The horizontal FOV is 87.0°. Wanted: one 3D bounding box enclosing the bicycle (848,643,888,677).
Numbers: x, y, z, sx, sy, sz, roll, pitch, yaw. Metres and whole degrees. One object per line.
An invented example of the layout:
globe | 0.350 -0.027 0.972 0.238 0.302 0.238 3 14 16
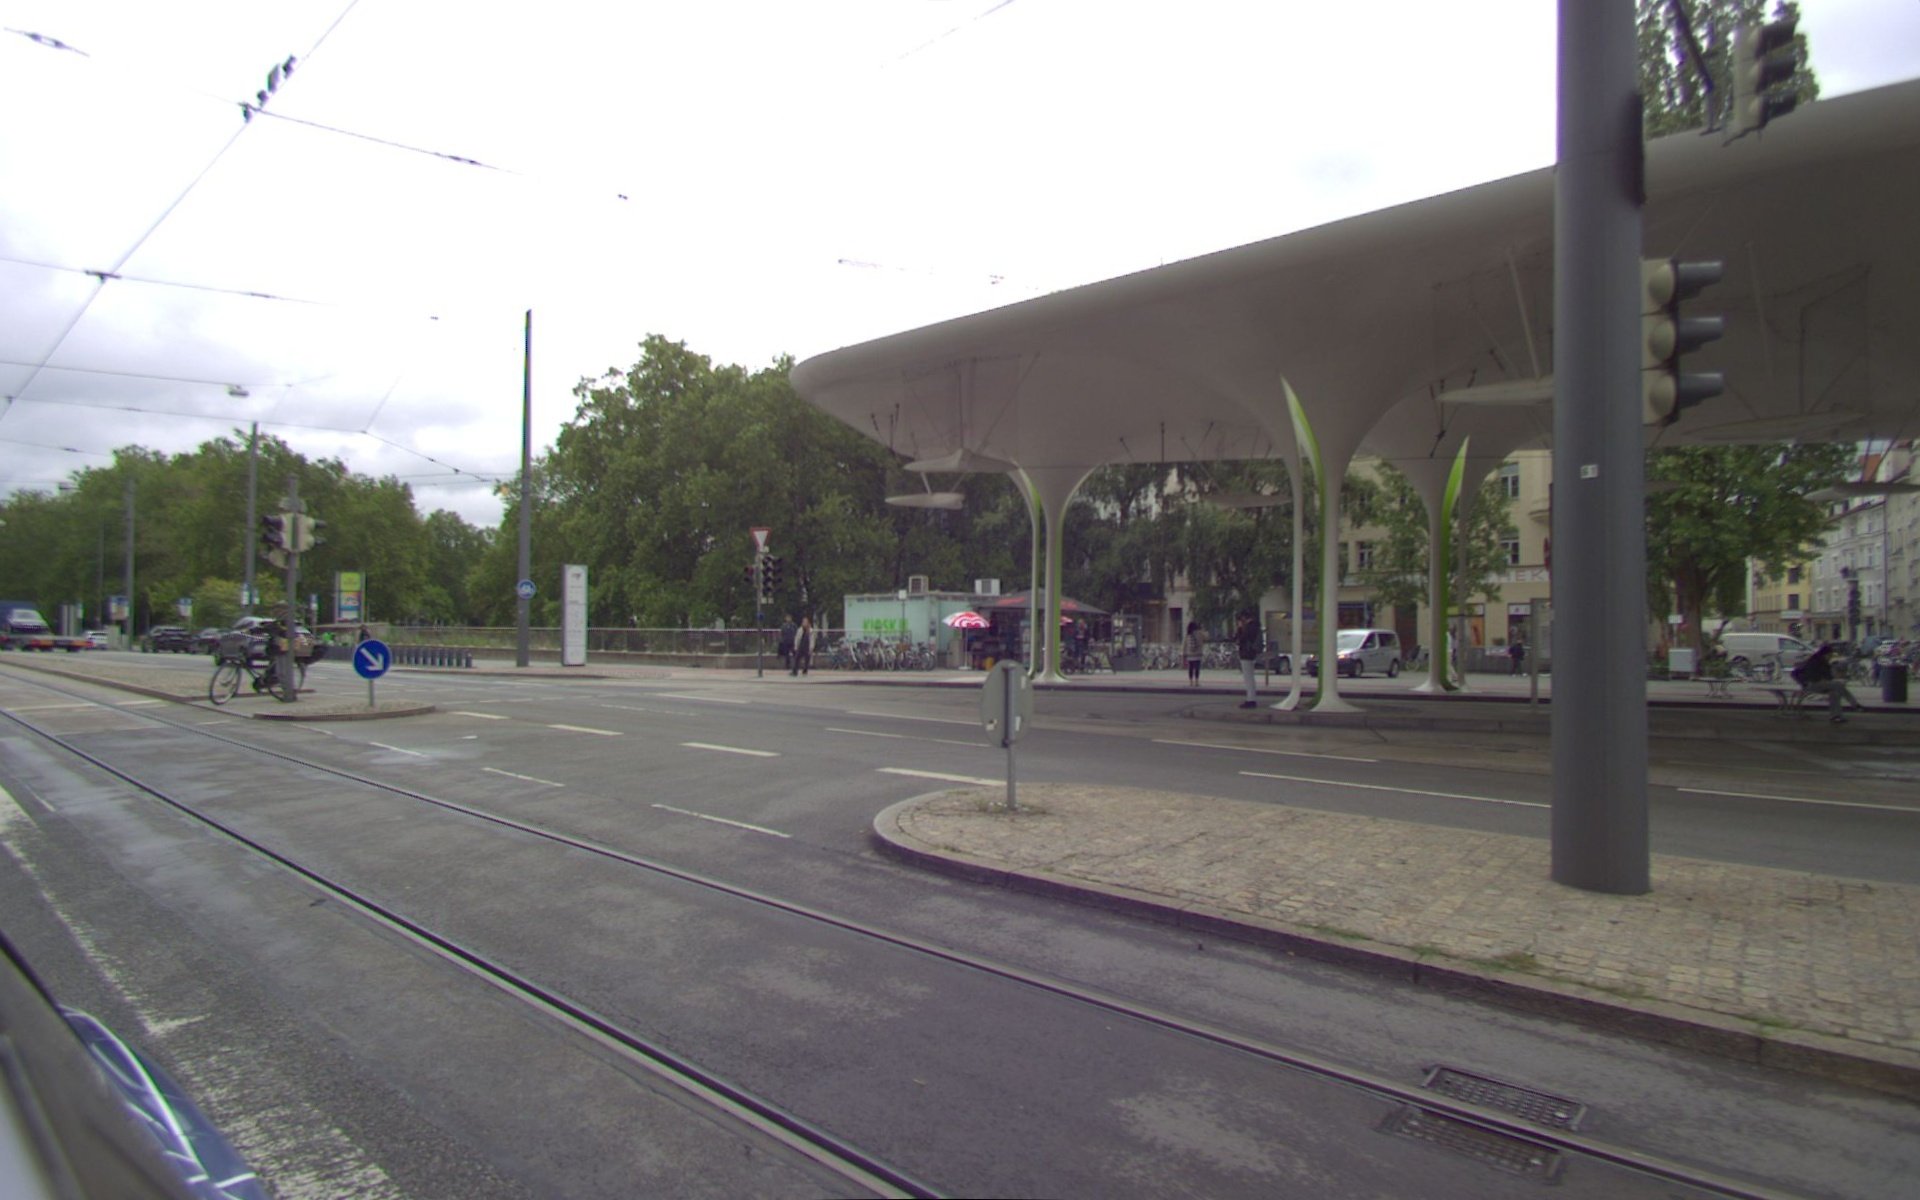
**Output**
bicycle | -3.103 1.995 34.003 0.472 1.104 1.854 1 -2 -35

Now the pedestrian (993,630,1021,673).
pedestrian | 1.764 1.938 38.125 0.728 1.612 0.799 1 -2 -34

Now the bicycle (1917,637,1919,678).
bicycle | 37.853 2.247 39.177 1.000 1.625 3.575 -1 -2 41

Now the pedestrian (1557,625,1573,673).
pedestrian | 26.162 2.121 43.769 0.457 2.029 0.575 -1 0 39

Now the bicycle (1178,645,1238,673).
bicycle | 10.793 2.551 44.121 2.523 1.138 0.635 -1 -3 42

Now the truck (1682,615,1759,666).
truck | 41.125 2.163 54.677 5.268 2.643 2.295 2 -2 -42

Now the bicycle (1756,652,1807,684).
bicycle | 31.253 2.555 38.494 2.639 1.143 0.741 1 -2 -34

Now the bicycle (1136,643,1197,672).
bicycle | 8.558 2.376 42.014 2.523 1.138 0.635 -1 -2 42

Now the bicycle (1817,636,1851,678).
bicycle | 35.635 2.298 41.255 1.000 1.625 3.575 -1 -2 41

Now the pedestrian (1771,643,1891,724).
pedestrian | 14.198 1.330 16.529 0.799 1.239 1.274 1 -2 -30

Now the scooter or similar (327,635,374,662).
scooter or similar | -26.917 2.140 44.731 0.561 1.181 1.671 -2 -2 39

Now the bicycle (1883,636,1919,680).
bicycle | 37.065 2.265 39.827 1.000 1.625 3.575 -1 -2 41

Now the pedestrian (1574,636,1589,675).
pedestrian | 26.658 2.381 43.407 0.457 1.638 0.575 -1 0 39

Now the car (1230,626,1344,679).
car | 12.912 2.013 39.811 4.851 1.962 1.874 2 -2 -38

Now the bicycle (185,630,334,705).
bicycle | -11.953 1.118 17.368 0.502 1.159 2.216 0 0 21

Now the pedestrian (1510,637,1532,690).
pedestrian | 22.171 2.494 40.011 0.691 2.029 0.691 -1 -2 34

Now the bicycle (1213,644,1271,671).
bicycle | 12.649 2.586 45.474 2.523 1.138 0.635 -1 -2 42

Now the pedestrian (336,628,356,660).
pedestrian | -29.709 2.131 48.989 0.589 1.570 0.624 -2 -3 40

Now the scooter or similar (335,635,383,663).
scooter or similar | -26.067 2.120 43.905 0.561 1.181 1.671 -2 -2 39

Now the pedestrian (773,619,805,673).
pedestrian | -5.598 1.486 33.132 0.725 1.729 0.862 2 -2 -38

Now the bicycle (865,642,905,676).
bicycle | -2.574 1.983 34.451 0.472 1.104 1.854 1 -2 -35

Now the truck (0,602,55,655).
truck | -59.348 1.784 63.514 7.683 3.111 2.540 -1 -4 40

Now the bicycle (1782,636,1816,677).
bicycle | 34.869 2.316 42.036 1.000 1.625 3.575 -1 -2 41

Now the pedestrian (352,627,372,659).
pedestrian | -29.281 2.117 49.565 0.589 1.570 0.624 -2 -3 40

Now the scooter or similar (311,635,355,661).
scooter or similar | -28.580 2.178 46.139 0.558 1.181 1.680 -1 -2 22

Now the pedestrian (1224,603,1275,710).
pedestrian | 5.140 0.993 18.001 0.802 1.853 0.664 0 -2 11

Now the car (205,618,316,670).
car | -23.796 1.497 34.364 4.674 1.651 1.844 -1 -4 40

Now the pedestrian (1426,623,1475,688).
pedestrian | 15.527 1.742 32.030 0.987 2.029 1.030 1 -2 -33

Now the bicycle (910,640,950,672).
bicycle | -1.058 1.948 35.478 0.472 1.104 1.854 1 -2 -35

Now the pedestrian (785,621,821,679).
pedestrian | -4.511 1.419 29.094 0.737 1.641 0.734 -1 -2 20

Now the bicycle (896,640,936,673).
bicycle | -1.556 1.960 35.188 0.472 1.104 1.854 1 -2 -35

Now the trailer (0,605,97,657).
trailer | -53.916 1.824 59.063 15.623 2.703 2.584 -1 -4 39

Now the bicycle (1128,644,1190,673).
bicycle | 8.134 2.375 41.495 2.523 1.138 0.635 -1 -2 42

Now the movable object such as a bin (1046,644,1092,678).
movable object such as a bin | 3.669 2.037 34.104 0.957 1.092 1.318 -1 -2 42

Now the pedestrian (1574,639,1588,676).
pedestrian | 27.224 2.513 44.361 0.458 1.602 0.517 -1 0 39

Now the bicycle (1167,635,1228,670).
bicycle | 10.230 2.259 43.695 2.562 1.432 0.627 -1 -2 42

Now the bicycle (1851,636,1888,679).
bicycle | 36.402 2.280 40.544 1.000 1.625 3.575 -1 -2 41

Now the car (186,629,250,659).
car | -39.892 2.336 54.380 4.231 1.537 1.840 -1 -3 41

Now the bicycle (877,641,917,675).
bicycle | -2.172 1.974 34.779 0.472 1.104 1.854 1 -2 -35

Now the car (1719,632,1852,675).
car | 39.396 2.503 48.457 4.795 1.934 1.975 -1 -2 37

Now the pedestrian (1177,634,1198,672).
pedestrian | 9.730 2.271 43.251 0.636 1.594 0.627 -1 -2 41

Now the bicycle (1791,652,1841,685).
bicycle | 31.934 2.539 37.743 2.639 1.143 0.741 1 -2 -34

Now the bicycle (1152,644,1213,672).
bicycle | 9.366 2.436 42.737 2.523 1.138 0.635 -1 -2 42

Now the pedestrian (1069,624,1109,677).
pedestrian | 4.464 1.727 34.981 0.957 1.776 1.017 -2 -2 42

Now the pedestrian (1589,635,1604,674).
pedestrian | 27.530 2.362 43.796 0.457 1.638 0.575 -1 0 39

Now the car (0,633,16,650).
car | -91.450 3.941 96.424 3.998 1.655 1.786 -2 -2 41

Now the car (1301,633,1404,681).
car | 14.237 2.013 36.614 3.937 1.628 1.834 2 -2 -41

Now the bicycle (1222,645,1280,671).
bicycle | 13.227 2.612 46.019 2.523 1.138 0.635 -1 -2 42

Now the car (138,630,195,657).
car | -47.703 2.568 60.811 4.100 1.582 1.973 -2 -2 41

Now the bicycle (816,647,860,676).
bicycle | -4.031 2.000 33.274 0.473 0.901 1.852 2 -2 -41

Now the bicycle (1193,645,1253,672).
bicycle | 11.578 2.556 44.603 2.523 1.138 0.635 -1 -2 42

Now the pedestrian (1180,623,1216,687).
pedestrian | 6.166 1.406 26.221 0.830 1.622 0.746 0 -2 8

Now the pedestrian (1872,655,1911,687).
pedestrian | 32.904 2.494 35.749 1.810 1.091 0.618 1 -2 -35

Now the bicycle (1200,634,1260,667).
bicycle | 11.987 2.220 45.029 2.562 1.432 0.627 -1 -2 42

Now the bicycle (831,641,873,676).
bicycle | -3.597 1.919 33.609 0.472 1.104 1.853 2 -2 -38

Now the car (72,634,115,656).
car | -63.747 3.274 74.441 3.998 1.542 1.868 -2 -3 42

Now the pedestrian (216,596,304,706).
pedestrian | -11.902 0.846 17.223 0.888 1.825 0.857 0 -1 14
